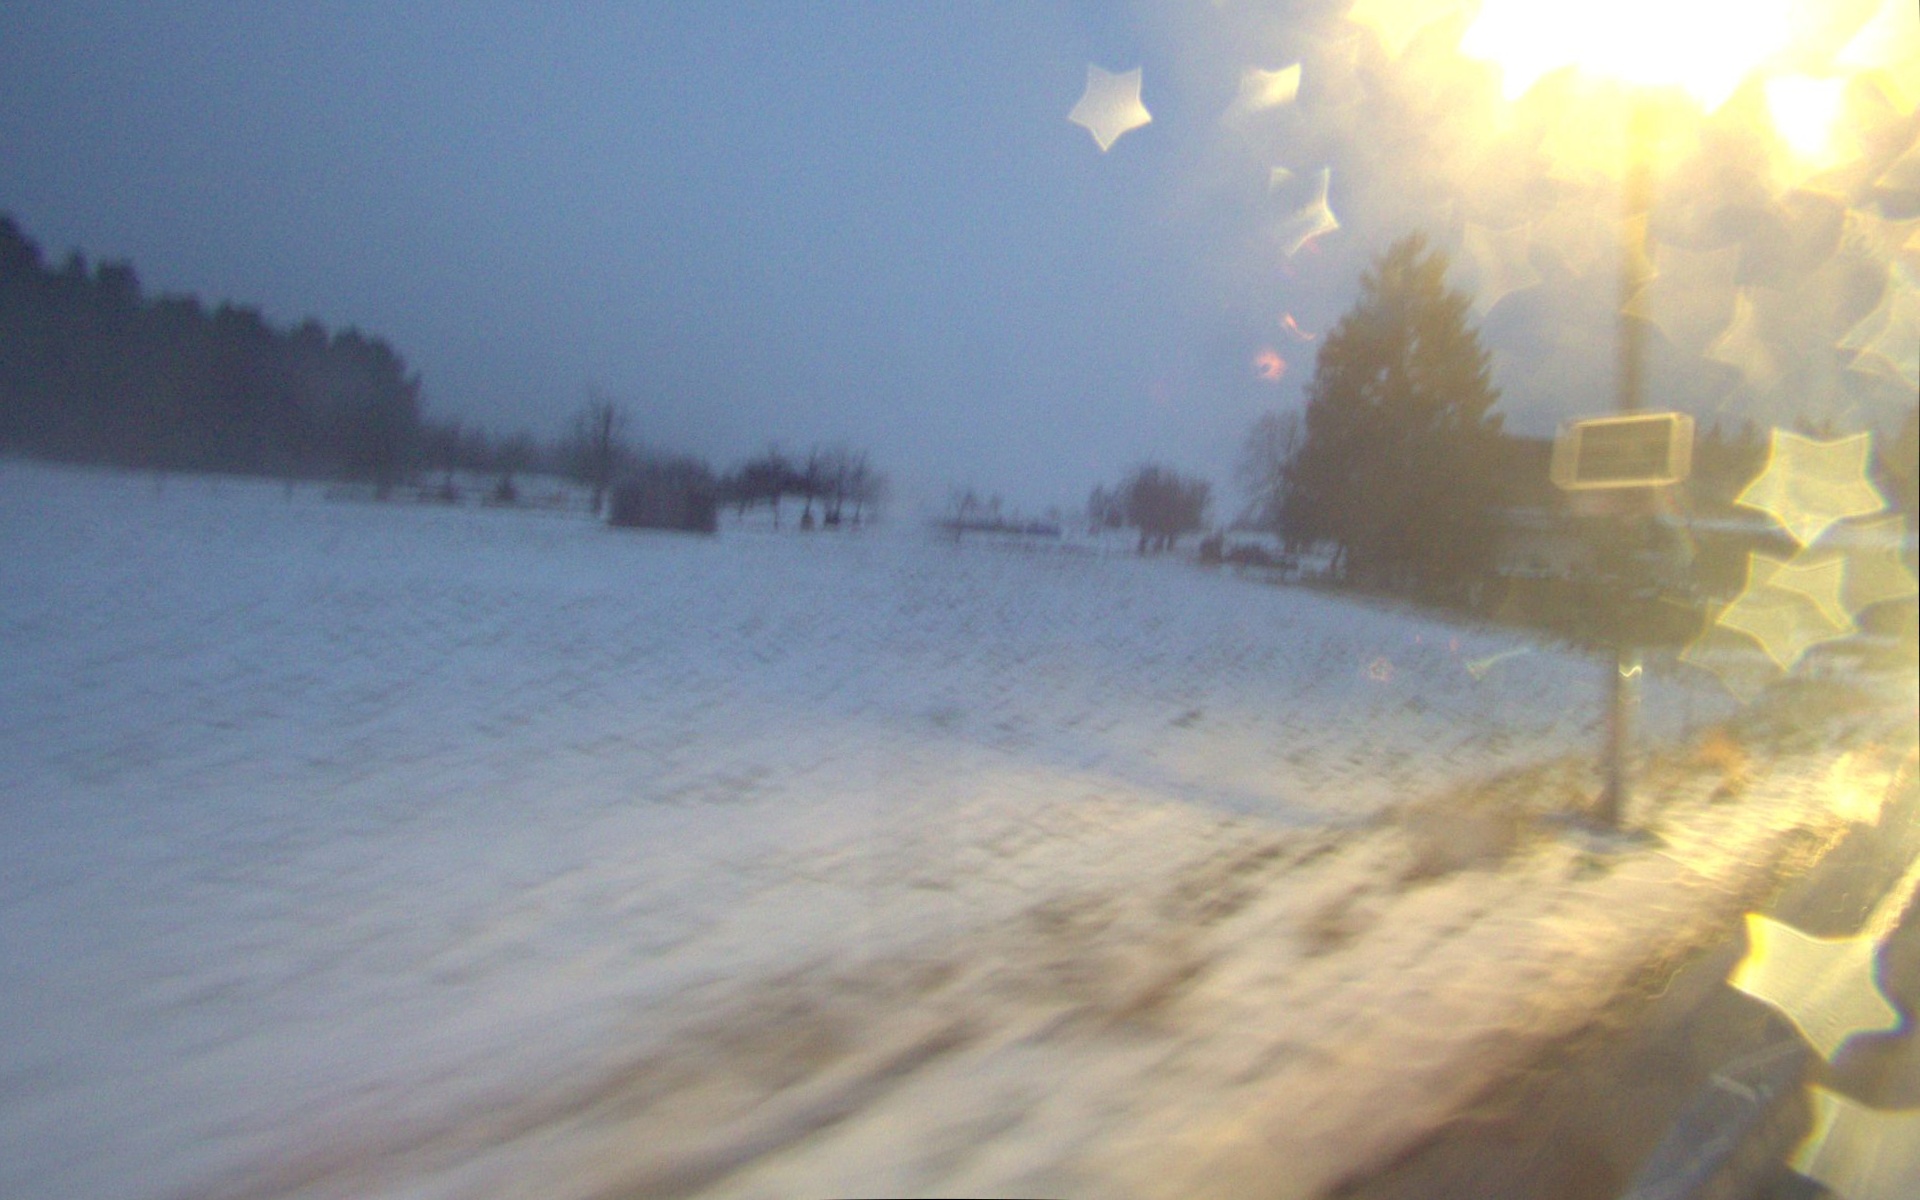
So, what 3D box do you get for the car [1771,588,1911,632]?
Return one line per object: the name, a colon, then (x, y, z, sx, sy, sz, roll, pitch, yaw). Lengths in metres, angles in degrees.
car: (39.960, 0.432, 46.016, 1.825, 1.677, 4.416, 2, 2, -32)
